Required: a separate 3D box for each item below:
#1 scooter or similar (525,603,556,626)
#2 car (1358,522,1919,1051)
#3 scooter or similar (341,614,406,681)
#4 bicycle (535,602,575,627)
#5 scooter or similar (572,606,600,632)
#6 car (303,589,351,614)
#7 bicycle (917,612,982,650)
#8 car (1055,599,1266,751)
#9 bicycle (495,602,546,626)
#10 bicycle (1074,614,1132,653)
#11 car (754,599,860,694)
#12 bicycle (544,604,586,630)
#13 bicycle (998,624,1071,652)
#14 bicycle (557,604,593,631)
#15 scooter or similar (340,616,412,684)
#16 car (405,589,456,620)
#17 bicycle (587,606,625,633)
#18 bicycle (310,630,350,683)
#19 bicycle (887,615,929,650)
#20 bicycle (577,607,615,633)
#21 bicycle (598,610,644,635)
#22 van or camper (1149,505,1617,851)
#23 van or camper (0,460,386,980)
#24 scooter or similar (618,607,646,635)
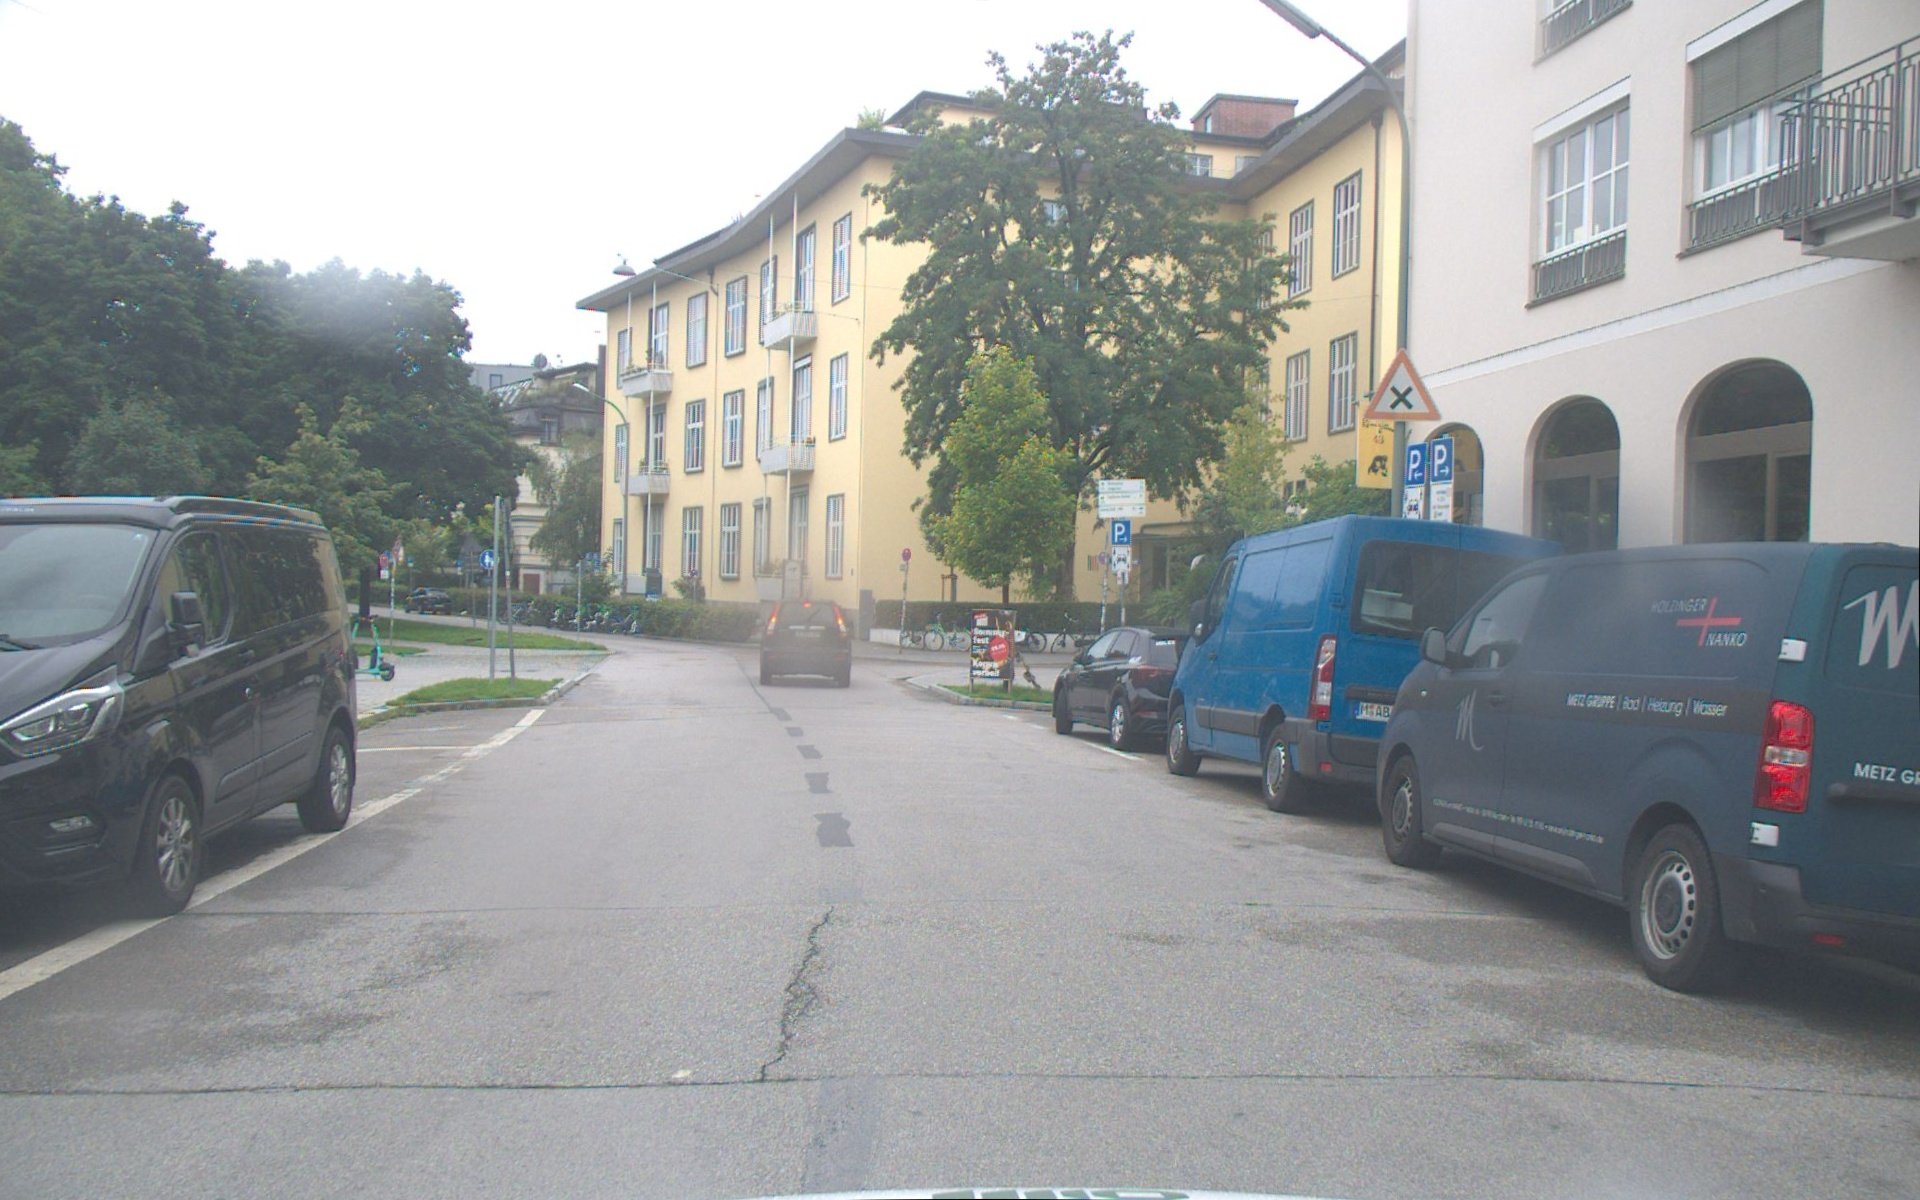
[{"bbox_3d":[-19.761,0.678,77.892,1.382,1.107,0.594,0,0,-15],"label":"scooter or similar"},{"bbox_3d":[3.837,0.760,8.443,1.927,1.847,4.931,7,-1,-4],"label":"car"},{"bbox_3d":[-11.342,0.909,32.011,0.437,1.241,1.179,-1,0,29],"label":"scooter or similar"},{"bbox_3d":[-18.128,0.637,74.004,0.746,1.104,2.142,0,0,17],"label":"bicycle"},{"bbox_3d":[-16.144,0.810,71.378,0.485,1.107,1.410,0,0,20],"label":"scooter or similar"},{"bbox_3d":[-43.332,0.089,113.224,2.157,1.686,4.454,1,0,-33],"label":"car"},{"bbox_3d":[-0.330,0.967,51.946,2.177,1.136,0.607,1,0,41],"label":"bicycle"},{"bbox_3d":[2.382,0.849,20.651,1.671,1.544,3.954,6,-1,-6],"label":"car"},{"bbox_3d":[-21.108,0.658,79.420,2.315,1.104,0.683,0,0,-38],"label":"bicycle"},{"bbox_3d":[4.399,1.027,50.892,1.700,1.170,0.610,1,0,-4],"label":"bicycle"},{"bbox_3d":[-3.159,0.882,33.583,1.957,1.723,4.373,2,0,-7],"label":"car"},{"bbox_3d":[-17.257,0.737,72.325,0.681,1.104,2.340,0,0,17],"label":"bicycle"},{"bbox_3d":[2.281,1.170,50.753,2.163,0.792,0.611,1,0,13],"label":"bicycle"},{"bbox_3d":[-16.675,0.746,71.661,0.623,1.104,1.987,0,0,17],"label":"bicycle"},{"bbox_3d":[-11.030,0.942,31.265,1.155,1.241,0.601,-1,0,-5],"label":"scooter or similar"},{"bbox_3d":[-29.504,0.239,92.048,1.844,1.662,4.240,1,0,-30],"label":"car"},{"bbox_3d":[-15.102,0.839,70.575,0.564,1.104,1.932,0,0,24],"label":"bicycle"},{"bbox_3d":[-11.693,1.034,30.685,0.465,0.939,1.191,1,0,-32],"label":"bicycle"},{"bbox_3d":[-1.708,1.039,54.034,0.600,1.091,2.201,0,0,-24],"label":"bicycle"},{"bbox_3d":[-15.648,0.846,71.076,0.564,1.104,1.932,0,0,24],"label":"bicycle"},{"bbox_3d":[-14.049,0.926,68.488,1.808,1.023,0.570,0,0,-36],"label":"bicycle"},{"bbox_3d":[3.317,0.561,14.397,2.021,2.269,5.431,5,-1,-6],"label":"van or camper"},{"bbox_3d":[-4.733,0.496,8.991,1.923,2.101,4.748,-1,0,-5],"label":"van or camper"},{"bbox_3d":[-13.335,0.853,67.274,0.485,1.128,1.410,0,0,20],"label":"scooter or similar"}]
